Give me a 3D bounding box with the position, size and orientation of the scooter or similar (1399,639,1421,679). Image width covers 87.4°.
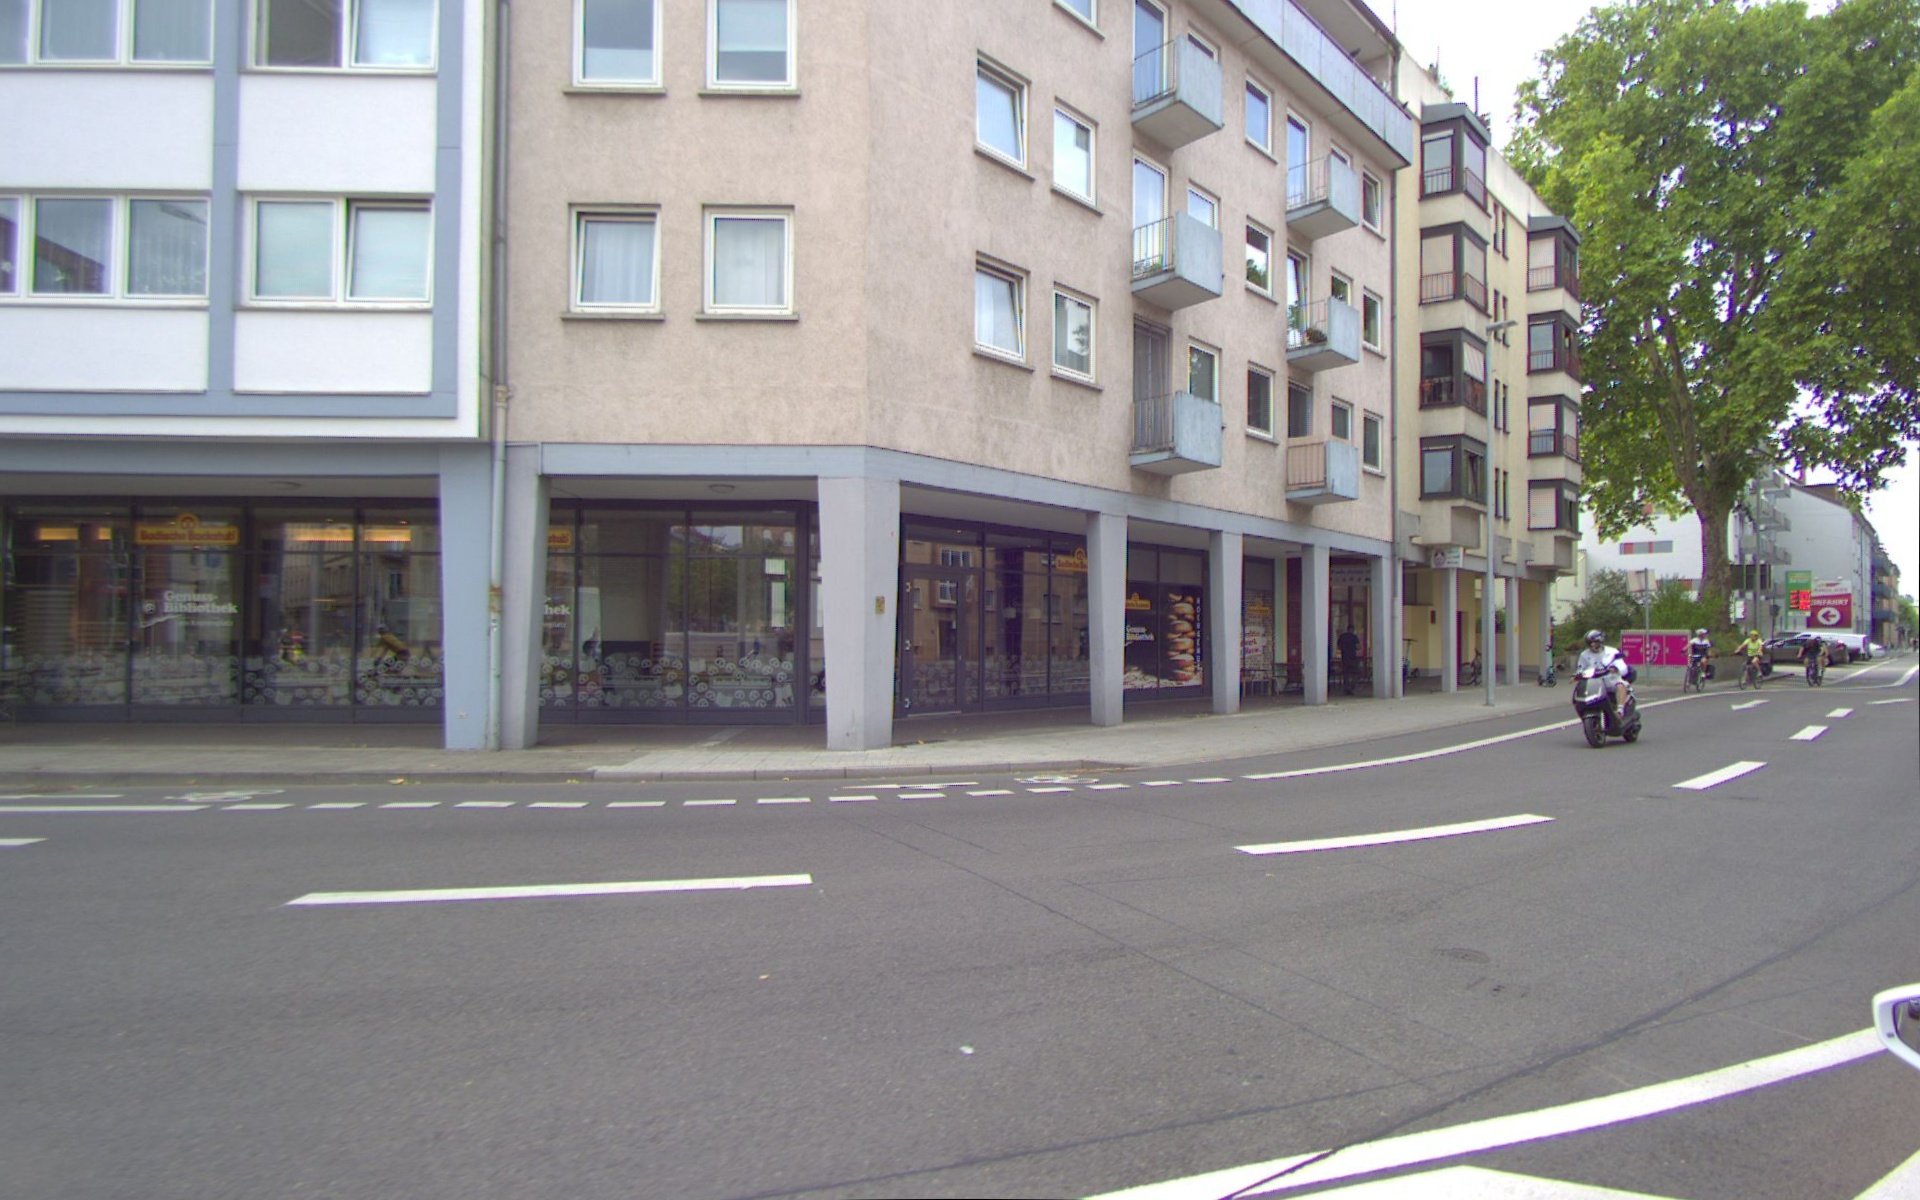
[{"bbox_3d":[14.418,1.874,32.154,0.283,1.217,1.170,-1,-1,41],"label":"scooter or similar"}]

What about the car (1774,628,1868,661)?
[{"bbox_3d":[56.257,2.892,65.698,2.033,1.903,4.482,2,0,-43],"label":"car"}]

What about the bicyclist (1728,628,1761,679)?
[{"bbox_3d":[24.702,1.657,31.620,0.834,1.546,0.651,0,1,-41],"label":"bicyclist"}]

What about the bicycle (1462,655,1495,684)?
[{"bbox_3d":[15.734,2.105,30.479,1.608,0.832,0.425,2,-2,-45],"label":"bicycle"}]

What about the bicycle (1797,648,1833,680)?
[{"bbox_3d":[31.633,2.355,37.161,2.178,1.020,0.731,0,1,-42],"label":"bicycle"}]

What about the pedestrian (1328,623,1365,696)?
[{"bbox_3d":[9.677,1.480,25.133,0.575,1.780,0.779,1,0,45],"label":"pedestrian"}]

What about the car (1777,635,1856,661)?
[{"bbox_3d":[54.224,3.001,63.617,1.742,1.464,3.644,1,0,-45],"label":"car"}]

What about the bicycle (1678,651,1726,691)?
[{"bbox_3d":[21.526,2.031,29.134,1.894,1.020,0.731,0,1,-41],"label":"bicycle"}]

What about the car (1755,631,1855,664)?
[{"bbox_3d":[48.297,2.695,57.435,1.954,1.627,4.215,0,0,-44],"label":"car"}]

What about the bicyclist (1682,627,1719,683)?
[{"bbox_3d":[21.474,1.581,29.117,0.994,1.546,0.651,0,1,-41],"label":"bicyclist"}]

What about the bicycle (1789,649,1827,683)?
[{"bbox_3d":[28.947,2.228,34.284,1.961,1.020,0.731,0,1,-42],"label":"bicycle"}]

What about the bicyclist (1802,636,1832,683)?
[{"bbox_3d":[29.266,2.022,34.297,0.849,1.546,0.651,0,1,-41],"label":"bicyclist"}]

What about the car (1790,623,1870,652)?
[{"bbox_3d":[62.529,2.658,72.248,4.262,1.894,1.813,1,-1,44],"label":"car"}]

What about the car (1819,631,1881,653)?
[{"bbox_3d":[64.885,3.053,73.249,3.307,1.516,1.587,1,-1,44],"label":"car"}]

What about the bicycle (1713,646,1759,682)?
[{"bbox_3d":[24.504,2.004,31.714,2.234,1.020,0.731,0,1,-41],"label":"bicycle"}]

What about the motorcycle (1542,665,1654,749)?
[{"bbox_3d":[9.300,1.520,14.605,2.018,1.109,0.716,2,-4,-38],"label":"motorcycle"}]

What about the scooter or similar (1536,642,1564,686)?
[{"bbox_3d":[17.871,1.931,30.456,0.281,1.281,1.177,0,-2,8],"label":"scooter or similar"}]

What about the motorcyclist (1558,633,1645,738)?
[{"bbox_3d":[9.371,1.232,14.681,0.858,1.479,0.790,2,-4,-39],"label":"motorcyclist"}]

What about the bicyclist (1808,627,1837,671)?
[{"bbox_3d":[32.048,1.806,37.318,1.068,1.546,0.651,0,1,-41],"label":"bicyclist"}]
